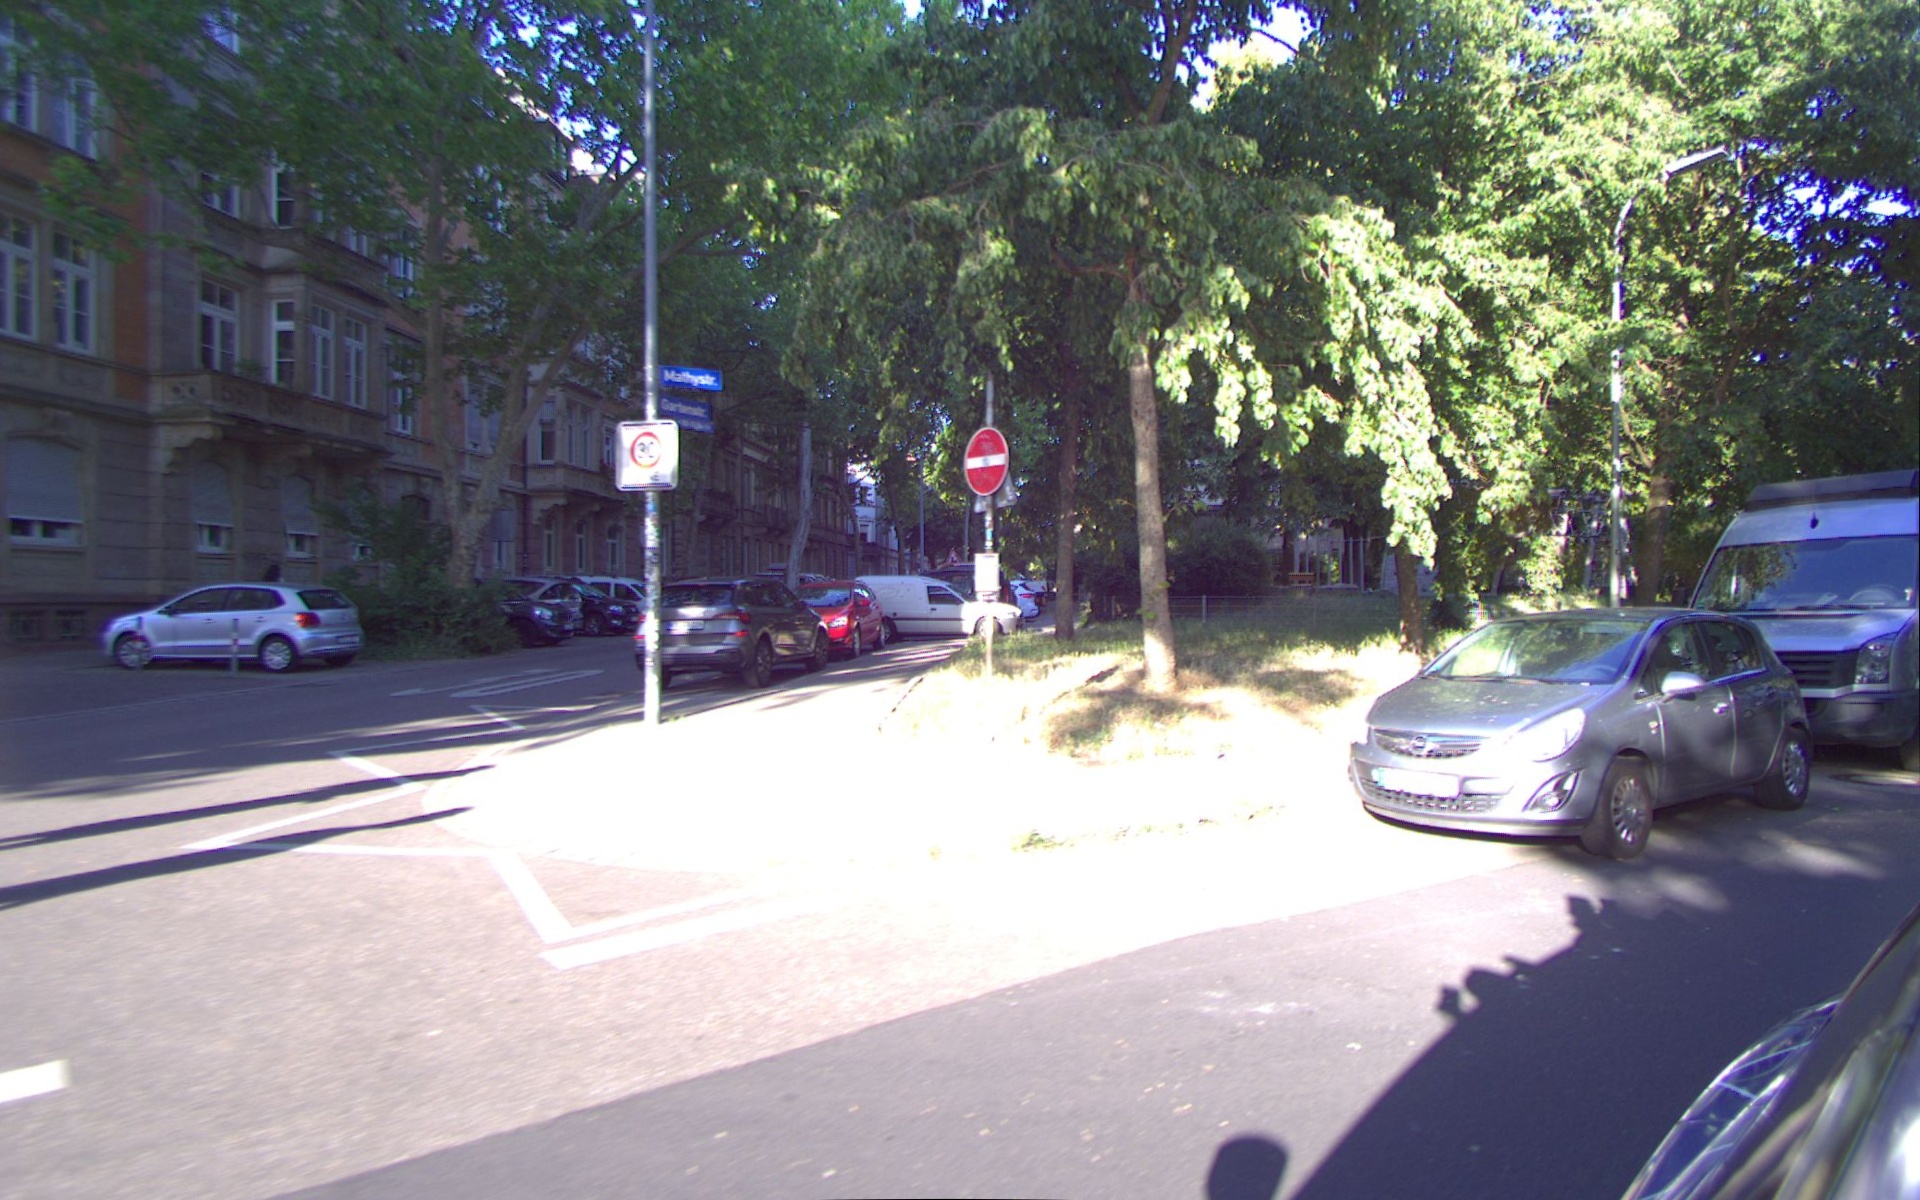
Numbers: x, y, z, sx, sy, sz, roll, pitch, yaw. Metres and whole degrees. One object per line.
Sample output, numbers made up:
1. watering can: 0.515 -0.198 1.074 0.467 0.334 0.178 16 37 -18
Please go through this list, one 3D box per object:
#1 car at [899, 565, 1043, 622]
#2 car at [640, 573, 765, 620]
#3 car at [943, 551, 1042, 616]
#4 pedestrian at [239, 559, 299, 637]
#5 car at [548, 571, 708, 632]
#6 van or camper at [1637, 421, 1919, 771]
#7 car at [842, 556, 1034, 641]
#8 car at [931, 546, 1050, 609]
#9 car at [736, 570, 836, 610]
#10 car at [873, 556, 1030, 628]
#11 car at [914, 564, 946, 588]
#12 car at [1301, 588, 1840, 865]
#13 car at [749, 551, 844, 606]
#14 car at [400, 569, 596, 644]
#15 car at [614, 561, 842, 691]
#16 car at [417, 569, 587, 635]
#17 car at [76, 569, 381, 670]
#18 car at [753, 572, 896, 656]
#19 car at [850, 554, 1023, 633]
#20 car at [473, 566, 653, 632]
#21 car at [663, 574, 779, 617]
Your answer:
1. car: 0.378 -0.211 32.348 4.330 1.511 1.781 -3 0 10
2. car: -9.944 -0.150 39.252 4.401 1.651 1.734 2 1 2
3. car: 1.538 -0.770 47.559 4.558 3.004 1.605 0 0 5
4. pedestrian: -14.734 -0.043 21.591 0.799 1.628 0.716 0 0 -1
5. car: -10.097 0.025 30.822 4.420 1.651 1.726 2 1 15
6. van or camper: 9.456 -0.051 10.538 5.734 2.797 2.091 0 0 -35
7. car: -0.488 -0.032 24.570 4.330 1.729 1.729 -3 0 10
8. car: 1.214 -0.870 39.674 4.558 2.443 1.605 0 0 5
9. car: -8.438 -0.510 49.337 4.506 1.788 1.734 2 0 2
10. car: -0.217 -0.224 30.086 4.330 1.799 1.781 -3 0 10
11. car: -2.555 -2.042 86.955 1.968 2.039 3.988 0 1 11
12. car: 4.362 0.686 7.113 3.796 1.465 1.686 0 -2 -32
13. car: -8.333 -1.061 51.874 4.506 2.535 1.732 2 -4 2
14. car: -10.646 0.127 23.507 3.706 1.638 1.909 0 1 0
15. car: -3.227 0.310 15.026 1.714 1.571 4.264 -3 0 10
16. car: -11.595 0.026 25.760 3.580 1.616 1.651 0 1 2
17. car: -12.246 0.299 17.102 3.926 1.491 1.734 2 1 2
18. car: -2.567 0.204 20.348 1.714 1.467 4.637 -2 1 7
19. car: -0.604 -0.172 27.274 4.330 1.799 1.781 -3 0 10
20. car: -11.124 -0.043 28.529 4.401 1.651 1.734 2 0 2
21. car: -9.982 -0.195 42.481 4.401 1.651 1.734 2 0 2
